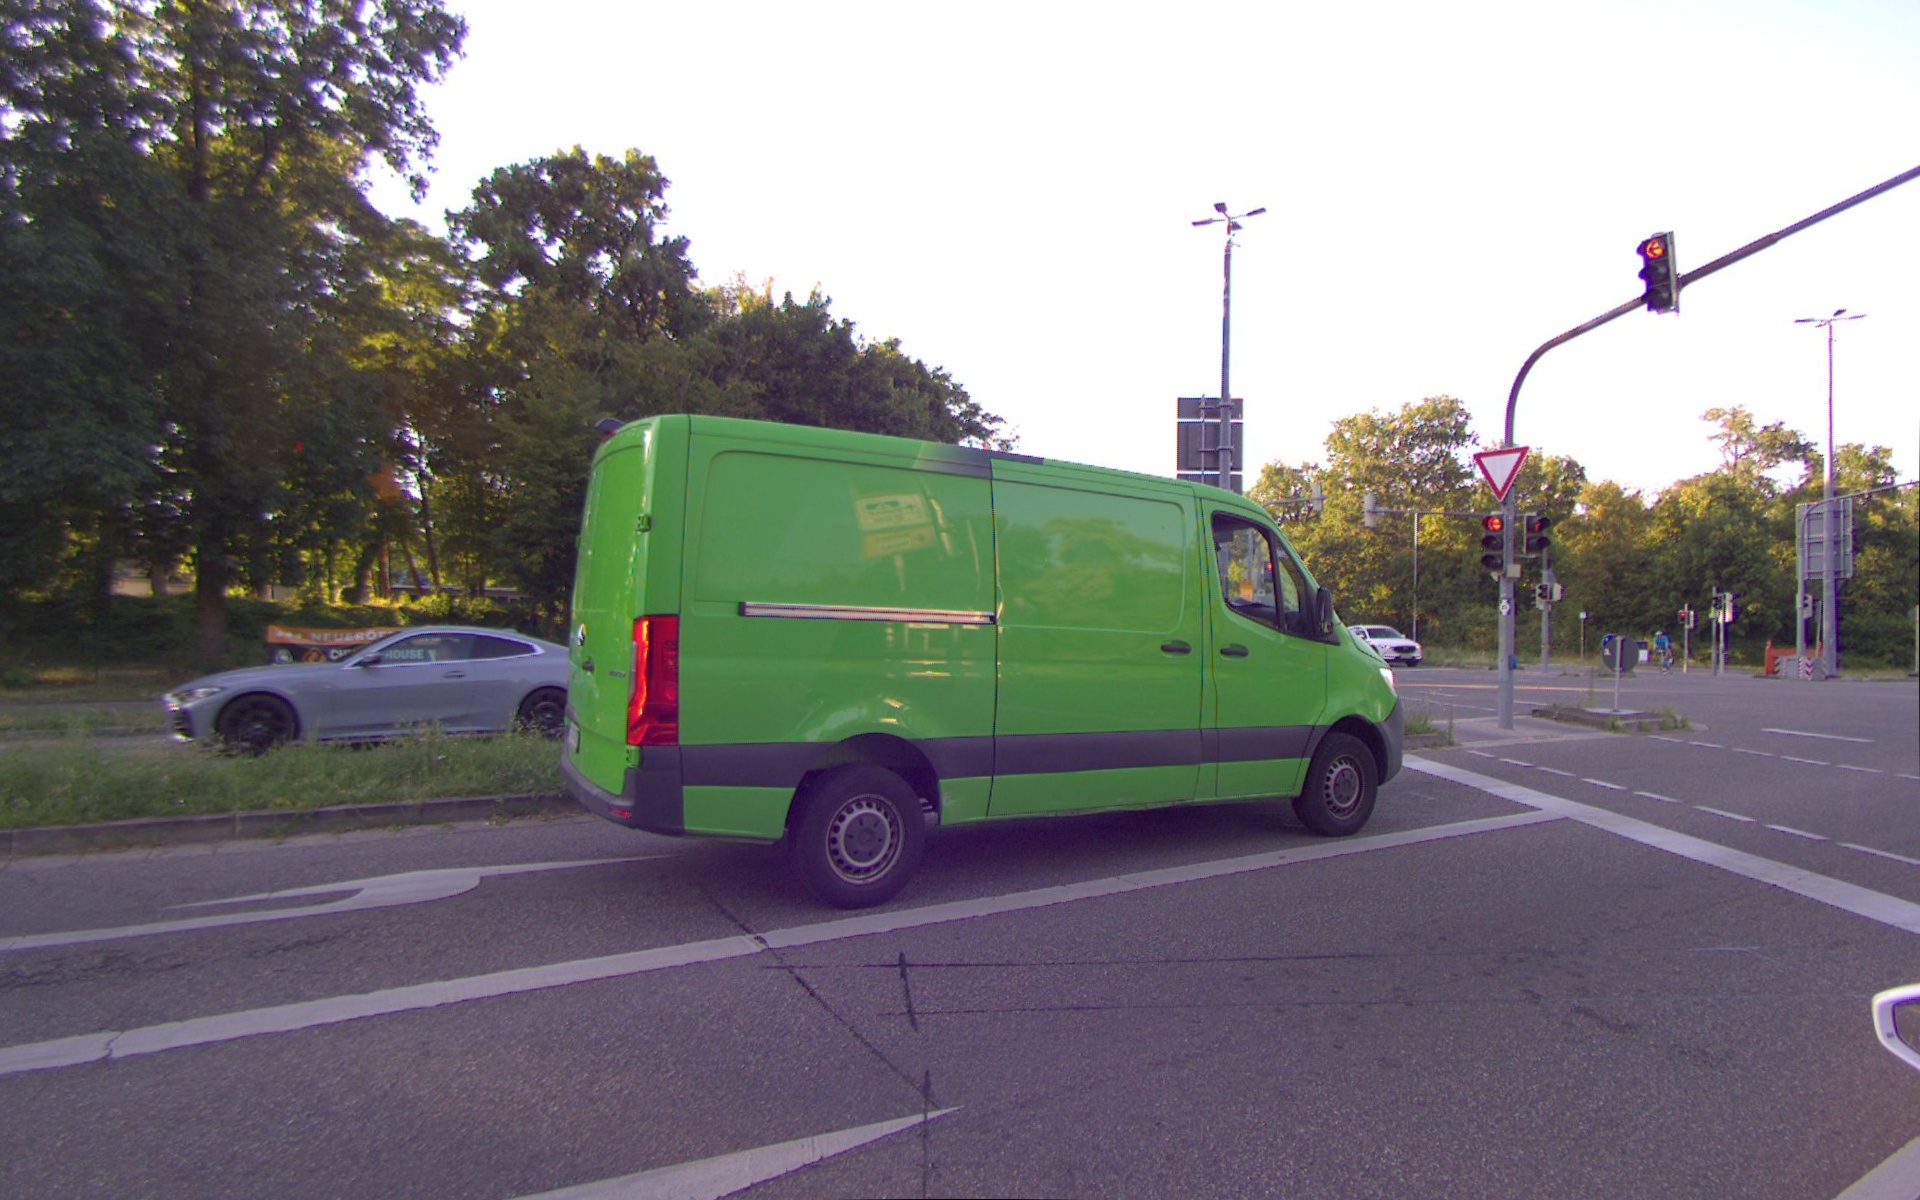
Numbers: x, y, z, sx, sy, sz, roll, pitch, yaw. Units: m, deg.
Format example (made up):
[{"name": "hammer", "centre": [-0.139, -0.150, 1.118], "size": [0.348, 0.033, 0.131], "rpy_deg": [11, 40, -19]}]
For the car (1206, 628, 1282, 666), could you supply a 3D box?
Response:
[{"name": "car", "centre": [13.503, 2.211, 48.043], "size": [1.963, 1.661, 4.252], "rpy_deg": [1, -1, -8]}]

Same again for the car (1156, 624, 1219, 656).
[{"name": "car", "centre": [12.691, 2.199, 56.196], "size": [1.964, 1.661, 4.250], "rpy_deg": [1, -1, -10]}]

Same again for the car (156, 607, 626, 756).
[{"name": "car", "centre": [-6.421, 0.864, 11.795], "size": [4.449, 1.460, 1.882], "rpy_deg": [2, -1, -31]}]

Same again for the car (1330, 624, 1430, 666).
[{"name": "car", "centre": [17.500, 1.836, 42.100], "size": [1.963, 1.661, 4.252], "rpy_deg": [1, -1, -8]}]

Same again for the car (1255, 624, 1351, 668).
[{"name": "car", "centre": [13.813, 1.801, 40.694], "size": [1.963, 1.661, 4.252], "rpy_deg": [1, -1, -8]}]

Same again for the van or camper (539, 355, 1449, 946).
[{"name": "van or camper", "centre": [0.543, 0.287, 6.560], "size": [5.830, 2.453, 1.983], "rpy_deg": [2, -1, -32]}]

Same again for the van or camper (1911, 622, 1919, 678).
[{"name": "van or camper", "centre": [49.746, 2.454, 48.153], "size": [7.004, 2.687, 2.885], "rpy_deg": [1, -1, -16]}]
